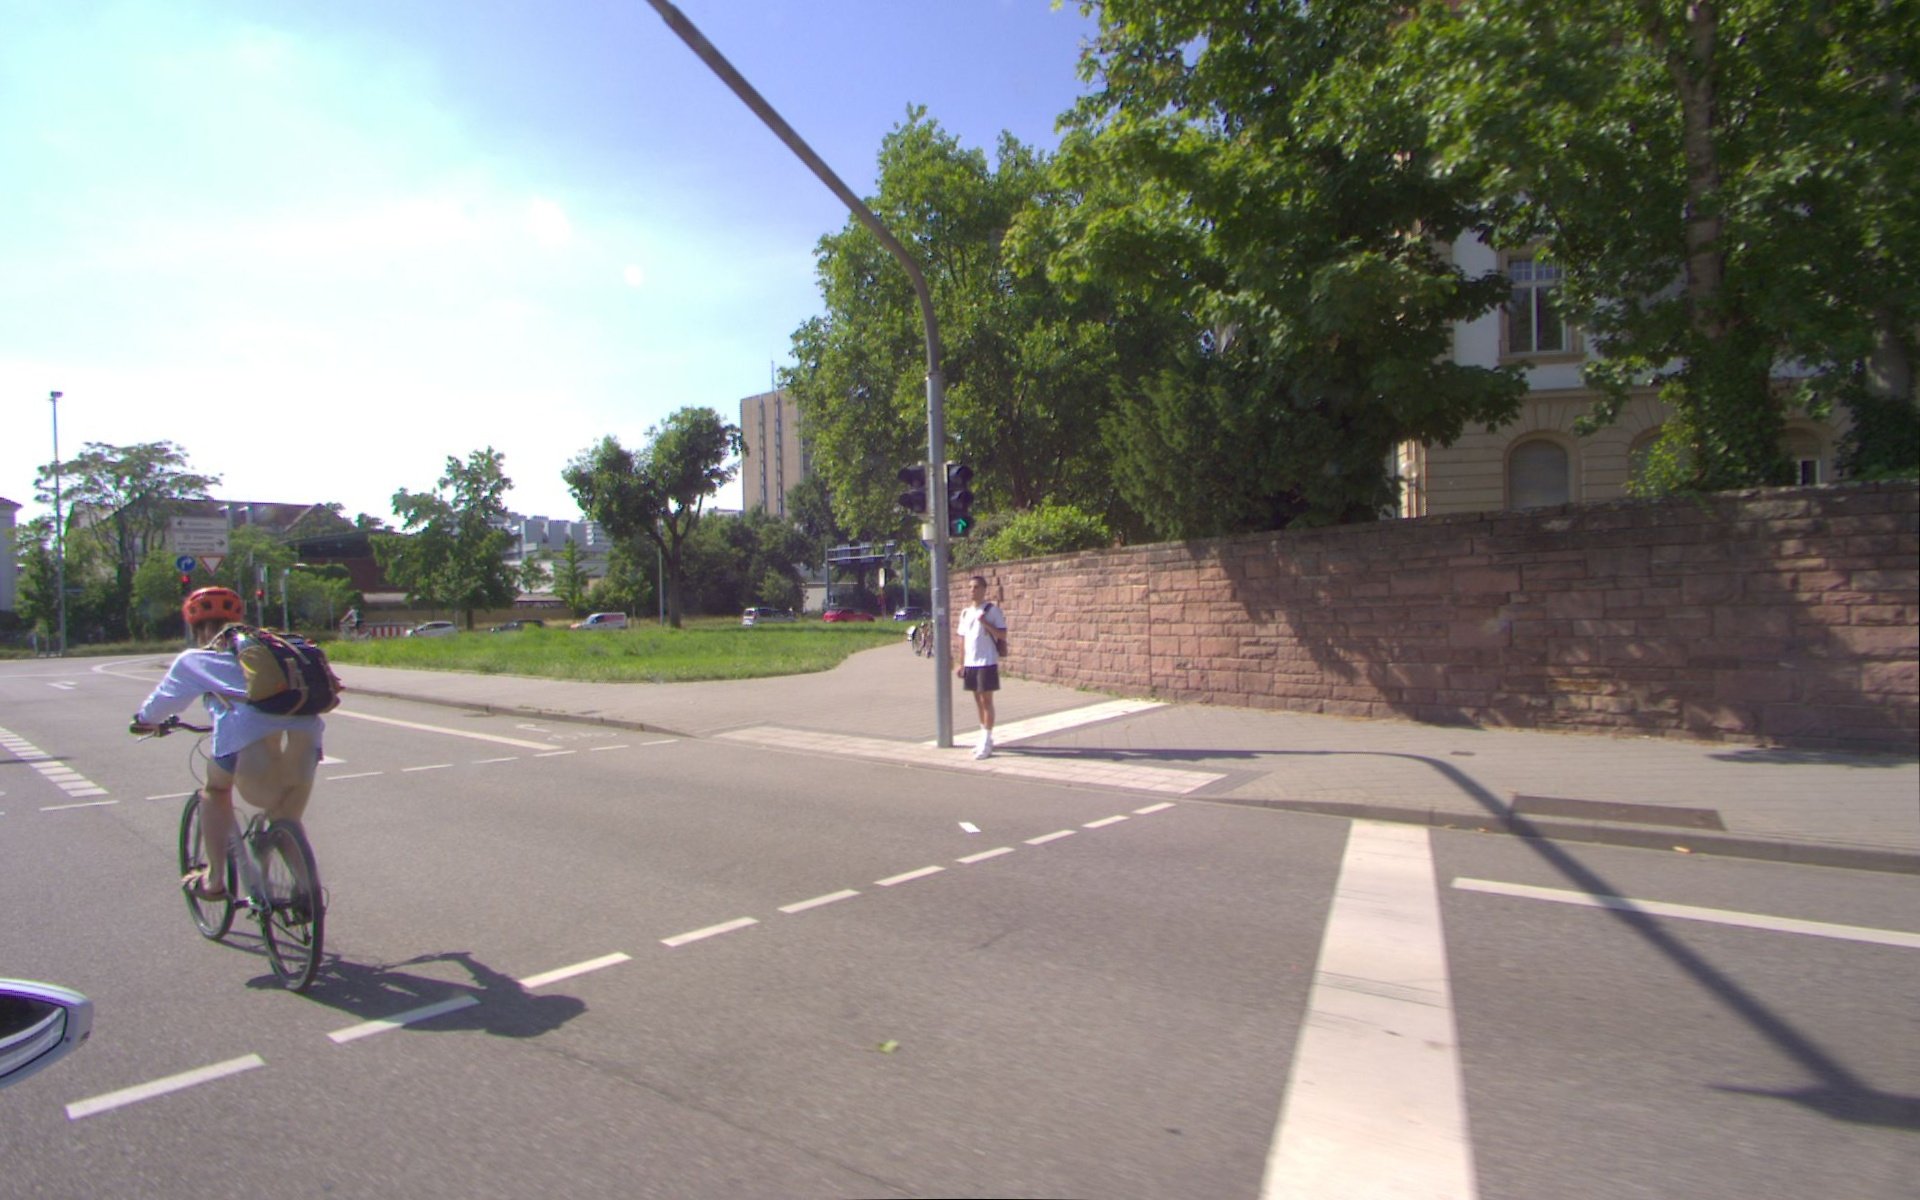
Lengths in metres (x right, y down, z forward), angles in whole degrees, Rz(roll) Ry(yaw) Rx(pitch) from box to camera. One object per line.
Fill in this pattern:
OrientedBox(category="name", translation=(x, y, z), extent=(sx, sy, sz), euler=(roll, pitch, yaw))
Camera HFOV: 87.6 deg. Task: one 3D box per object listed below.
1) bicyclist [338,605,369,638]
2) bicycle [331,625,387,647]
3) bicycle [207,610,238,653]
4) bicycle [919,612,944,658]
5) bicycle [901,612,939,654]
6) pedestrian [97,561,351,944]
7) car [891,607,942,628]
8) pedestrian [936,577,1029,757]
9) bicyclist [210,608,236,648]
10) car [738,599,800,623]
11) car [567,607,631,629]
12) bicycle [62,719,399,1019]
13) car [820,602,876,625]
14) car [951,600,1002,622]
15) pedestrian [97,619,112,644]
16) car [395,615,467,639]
OrientedBox(category="bicyclist", translation=(-27.936, 0.980, 46.124), extent=(1.120, 1.489, 0.496), euler=(-1, -1, -1))
OrientedBox(category="bicycle", translation=(-27.705, 1.654, 46.162), extent=(2.126, 0.928, 0.674), euler=(-2, 1, -1))
OrientedBox(category="bicycle", translation=(-31.294, 1.323, 42.493), extent=(1.791, 1.789, 0.674), euler=(-1, 1, 42))
OrientedBox(category="bicycle", translation=(-0.757, 0.894, 26.182), extent=(0.343, 1.138, 1.433), euler=(-2, 1, -14))
OrientedBox(category="bicycle", translation=(-1.121, 0.911, 27.803), extent=(0.344, 1.138, 1.426), euler=(-2, 1, -34))
OrientedBox(category="pedestrian", translation=(-3.246, 0.608, 4.413), extent=(0.999, 1.485, 0.582), euler=(-1, -1, 33))
OrientedBox(category="car", translation=(-3.430, 1.386, 79.785), extent=(3.961, 1.493, 1.735), euler=(-2, 1, -45))
OrientedBox(category="pedestrian", translation=(0.259, 0.710, 11.000), extent=(0.783, 1.900, 0.651), euler=(-1, 2, 23))
OrientedBox(category="bicyclist", translation=(-31.261, 1.178, 42.474), extent=(0.908, 1.677, 0.674), euler=(-1, 1, 42))
OrientedBox(category="car", translation=(-13.305, 0.747, 69.918), extent=(1.733, 1.528, 3.965), euler=(-1, 1, 42))
OrientedBox(category="car", translation=(-28.210, 1.419, 78.325), extent=(1.888, 1.590, 4.287), euler=(-1, 0, 41))
OrientedBox(category="bicycle", translation=(-3.294, 1.072, 4.446), extent=(2.001, 0.943, 0.594), euler=(-2, -1, 35))
OrientedBox(category="car", translation=(-8.313, 1.032, 74.721), extent=(1.733, 1.526, 3.970), euler=(-1, -4, 42))
OrientedBox(category="car", translation=(1.396, 0.934, 84.916), extent=(4.389, 1.781, 1.735), euler=(-2, 1, -45))
OrientedBox(category="pedestrian", translation=(-67.759, 2.504, 79.304), extent=(0.786, 1.900, 0.634), euler=(-4, 3, -37))
OrientedBox(category="car", translation=(-36.734, 1.877, 69.577), extent=(1.978, 1.483, 3.966), euler=(-3, -1, 41))
